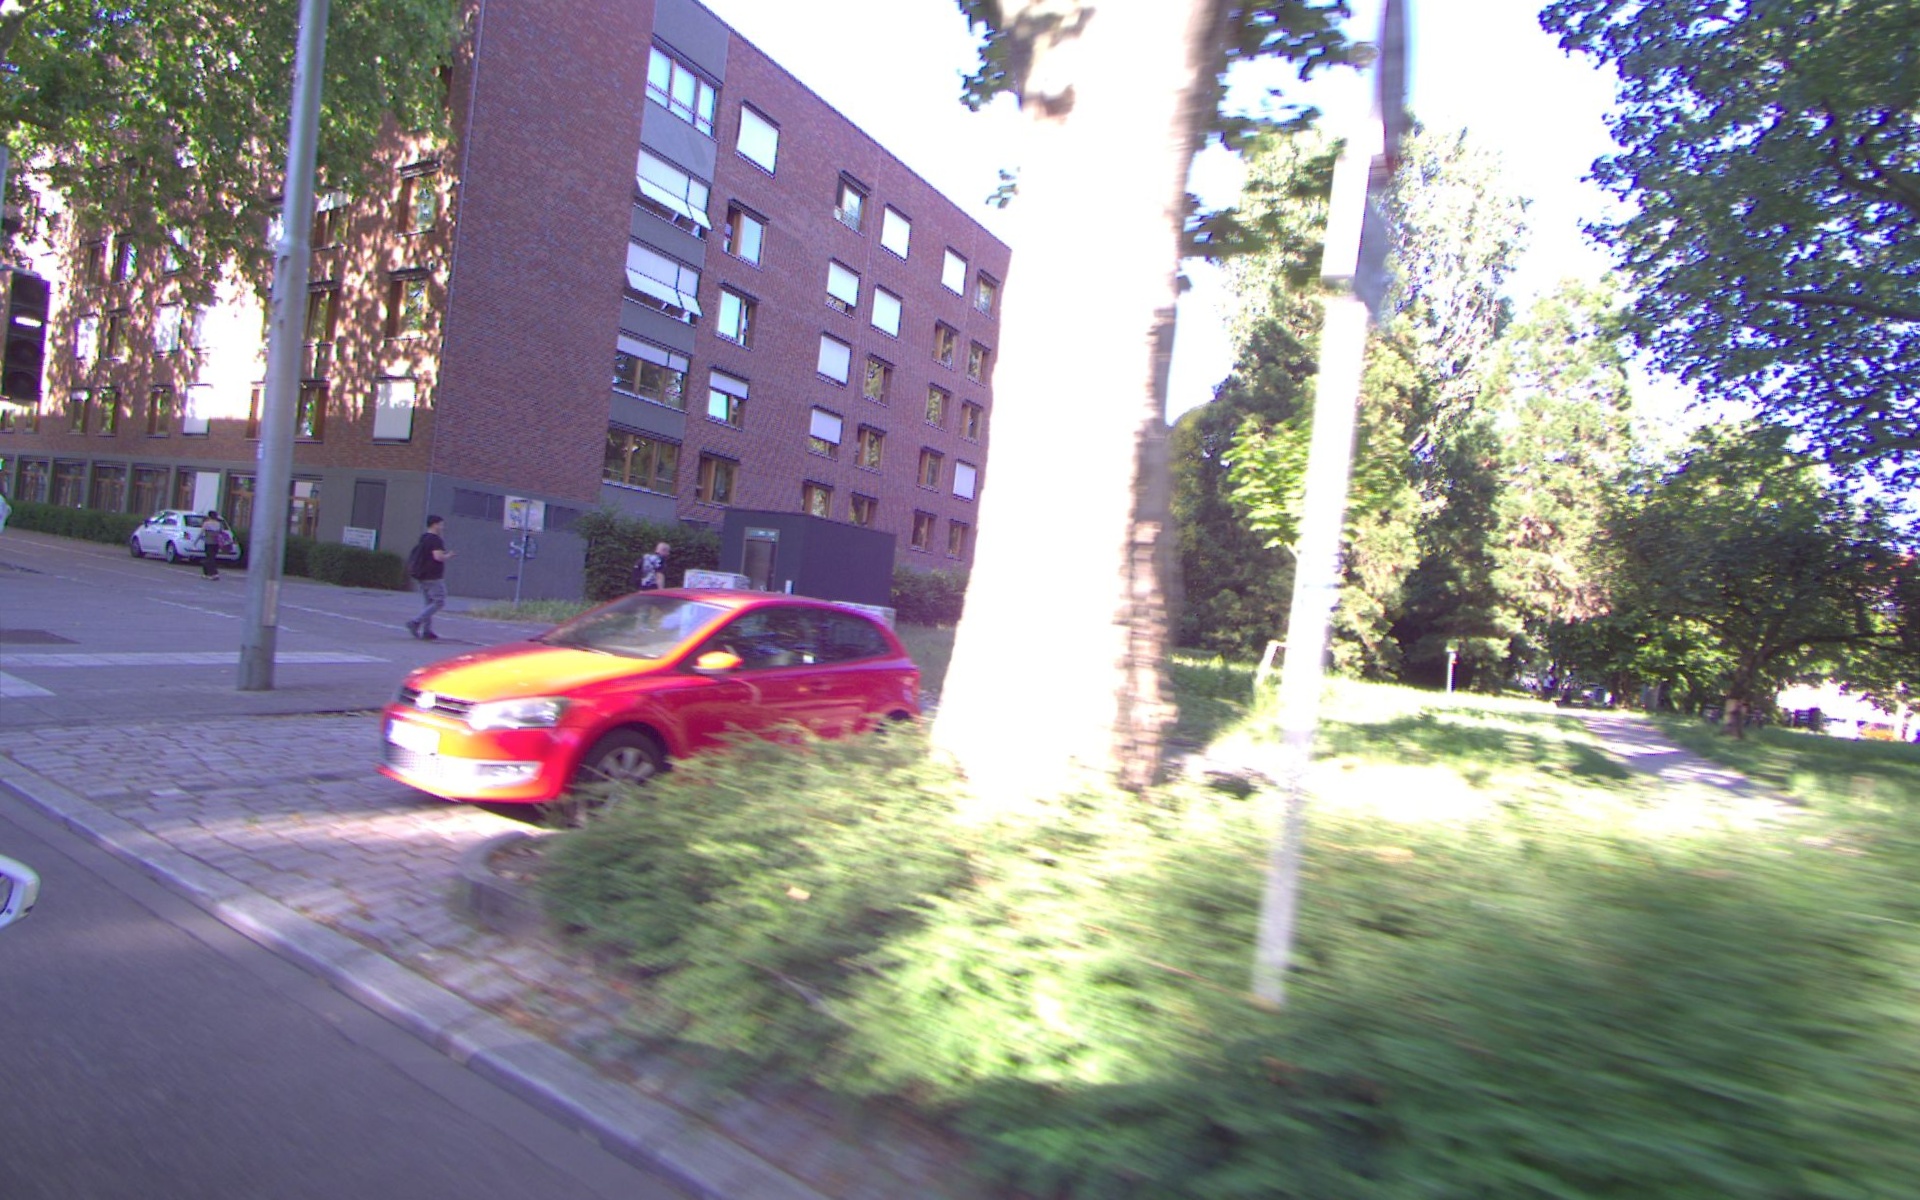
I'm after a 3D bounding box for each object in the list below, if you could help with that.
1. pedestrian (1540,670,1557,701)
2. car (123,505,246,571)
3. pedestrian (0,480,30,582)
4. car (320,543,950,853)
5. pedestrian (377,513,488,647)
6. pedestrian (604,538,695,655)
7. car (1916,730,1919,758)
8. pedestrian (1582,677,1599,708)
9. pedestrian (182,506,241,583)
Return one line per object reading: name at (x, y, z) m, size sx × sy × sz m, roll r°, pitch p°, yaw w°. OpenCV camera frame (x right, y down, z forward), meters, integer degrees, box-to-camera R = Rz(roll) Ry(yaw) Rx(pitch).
pedestrian at (33.277, 4.836, 56.868) m, size 0.639 × 1.682 × 0.648 m, roll 7°, pitch 1°, yaw 32°
car at (-22.339, -1.789, 28.957) m, size 3.360 × 1.513 × 1.602 m, roll 7°, pitch 0°, yaw 31°
pedestrian at (-16.468, -1.199, 17.125) m, size 0.726 × 1.690 × 0.653 m, roll 7°, pitch 1°, yaw 32°
car at (-1.917, 0.601, 7.003) m, size 1.622 × 1.441 × 3.886 m, roll 7°, pitch 0°, yaw 35°
pedestrian at (-7.755, -0.272, 14.819) m, size 0.849 × 1.834 × 0.996 m, roll 7°, pitch 1°, yaw 27°
pedestrian at (-5.367, -0.073, 17.432) m, size 0.998 × 1.890 × 0.983 m, roll 7°, pitch 4°, yaw 27°
car at (50.003, 7.440, 50.550) m, size 1.770 × 1.529 × 3.992 m, roll 7°, pitch 0°, yaw 30°
pedestrian at (35.841, 5.264, 57.207) m, size 0.639 × 1.682 × 0.648 m, roll 7°, pitch 1°, yaw 32°
pedestrian at (-17.625, -1.297, 23.680) m, size 0.821 × 1.689 × 0.736 m, roll 7°, pitch 1°, yaw 32°
